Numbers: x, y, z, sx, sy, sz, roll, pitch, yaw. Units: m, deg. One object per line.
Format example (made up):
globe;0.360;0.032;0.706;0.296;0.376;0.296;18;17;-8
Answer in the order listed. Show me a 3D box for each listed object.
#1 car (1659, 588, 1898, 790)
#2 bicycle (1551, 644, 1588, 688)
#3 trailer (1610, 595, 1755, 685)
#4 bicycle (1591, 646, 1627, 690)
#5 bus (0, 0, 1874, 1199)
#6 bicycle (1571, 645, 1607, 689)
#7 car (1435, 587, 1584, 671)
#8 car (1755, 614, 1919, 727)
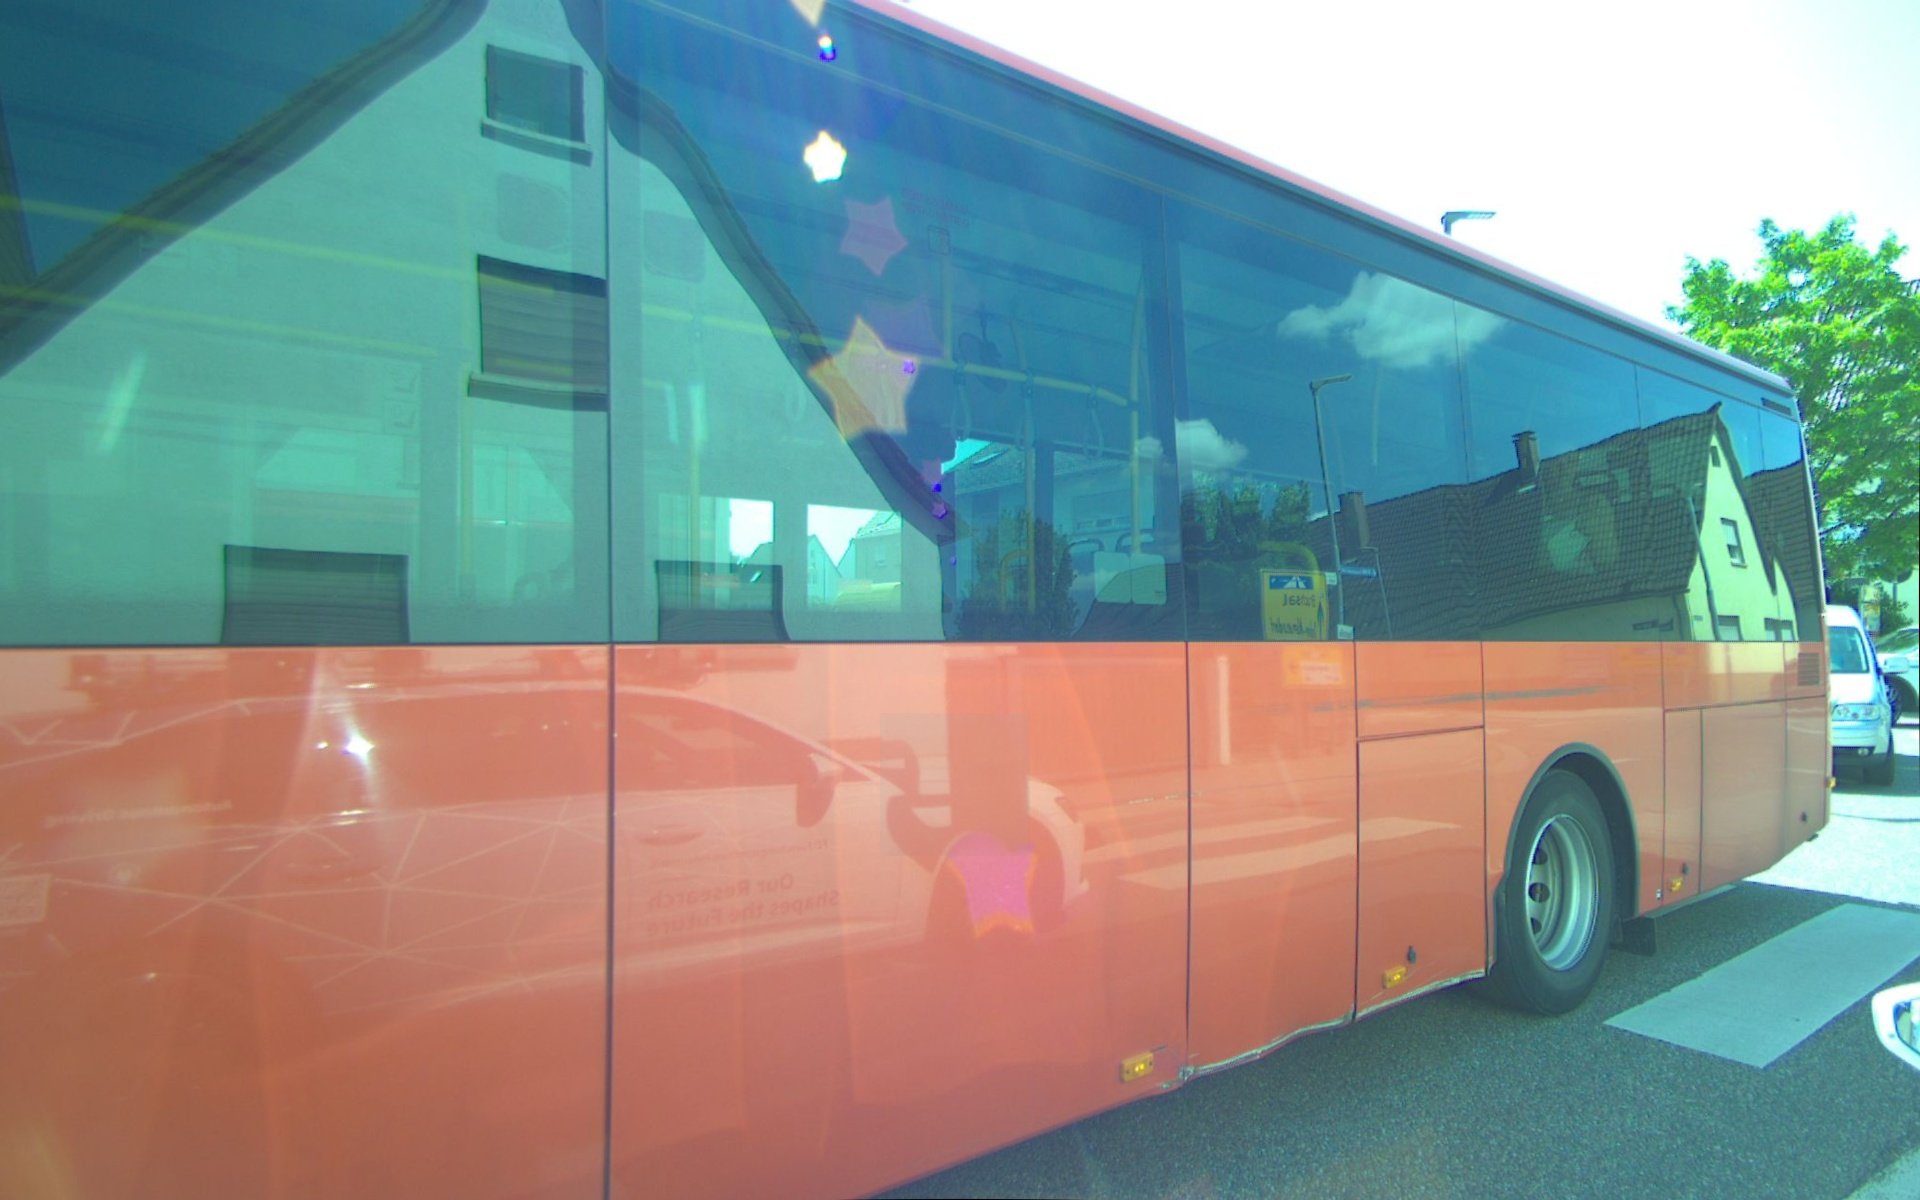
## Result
car;9.351;0.914;11.464;1.752;1.845;4.419;-3;-3;41
bicycle;15.885;1.697;26.180;0.396;1.017;1.970;-1;0;44
trailer;20.515;1.086;28.463;4.475;2.366;1.868;1;0;-34
bicycle;16.525;1.713;25.553;0.396;1.017;1.970;-1;0;44
bus;-0.197;-0.041;3.615;11.904;3.274;2.610;1;-4;-36
bicycle;16.215;1.705;25.879;0.396;1.017;1.970;-1;0;44
car;18.211;0.940;33.161;5.587;2.601;1.925;1;0;-34
car;15.831;1.099;16.086;4.451;1.732;1.873;0;-1;15
